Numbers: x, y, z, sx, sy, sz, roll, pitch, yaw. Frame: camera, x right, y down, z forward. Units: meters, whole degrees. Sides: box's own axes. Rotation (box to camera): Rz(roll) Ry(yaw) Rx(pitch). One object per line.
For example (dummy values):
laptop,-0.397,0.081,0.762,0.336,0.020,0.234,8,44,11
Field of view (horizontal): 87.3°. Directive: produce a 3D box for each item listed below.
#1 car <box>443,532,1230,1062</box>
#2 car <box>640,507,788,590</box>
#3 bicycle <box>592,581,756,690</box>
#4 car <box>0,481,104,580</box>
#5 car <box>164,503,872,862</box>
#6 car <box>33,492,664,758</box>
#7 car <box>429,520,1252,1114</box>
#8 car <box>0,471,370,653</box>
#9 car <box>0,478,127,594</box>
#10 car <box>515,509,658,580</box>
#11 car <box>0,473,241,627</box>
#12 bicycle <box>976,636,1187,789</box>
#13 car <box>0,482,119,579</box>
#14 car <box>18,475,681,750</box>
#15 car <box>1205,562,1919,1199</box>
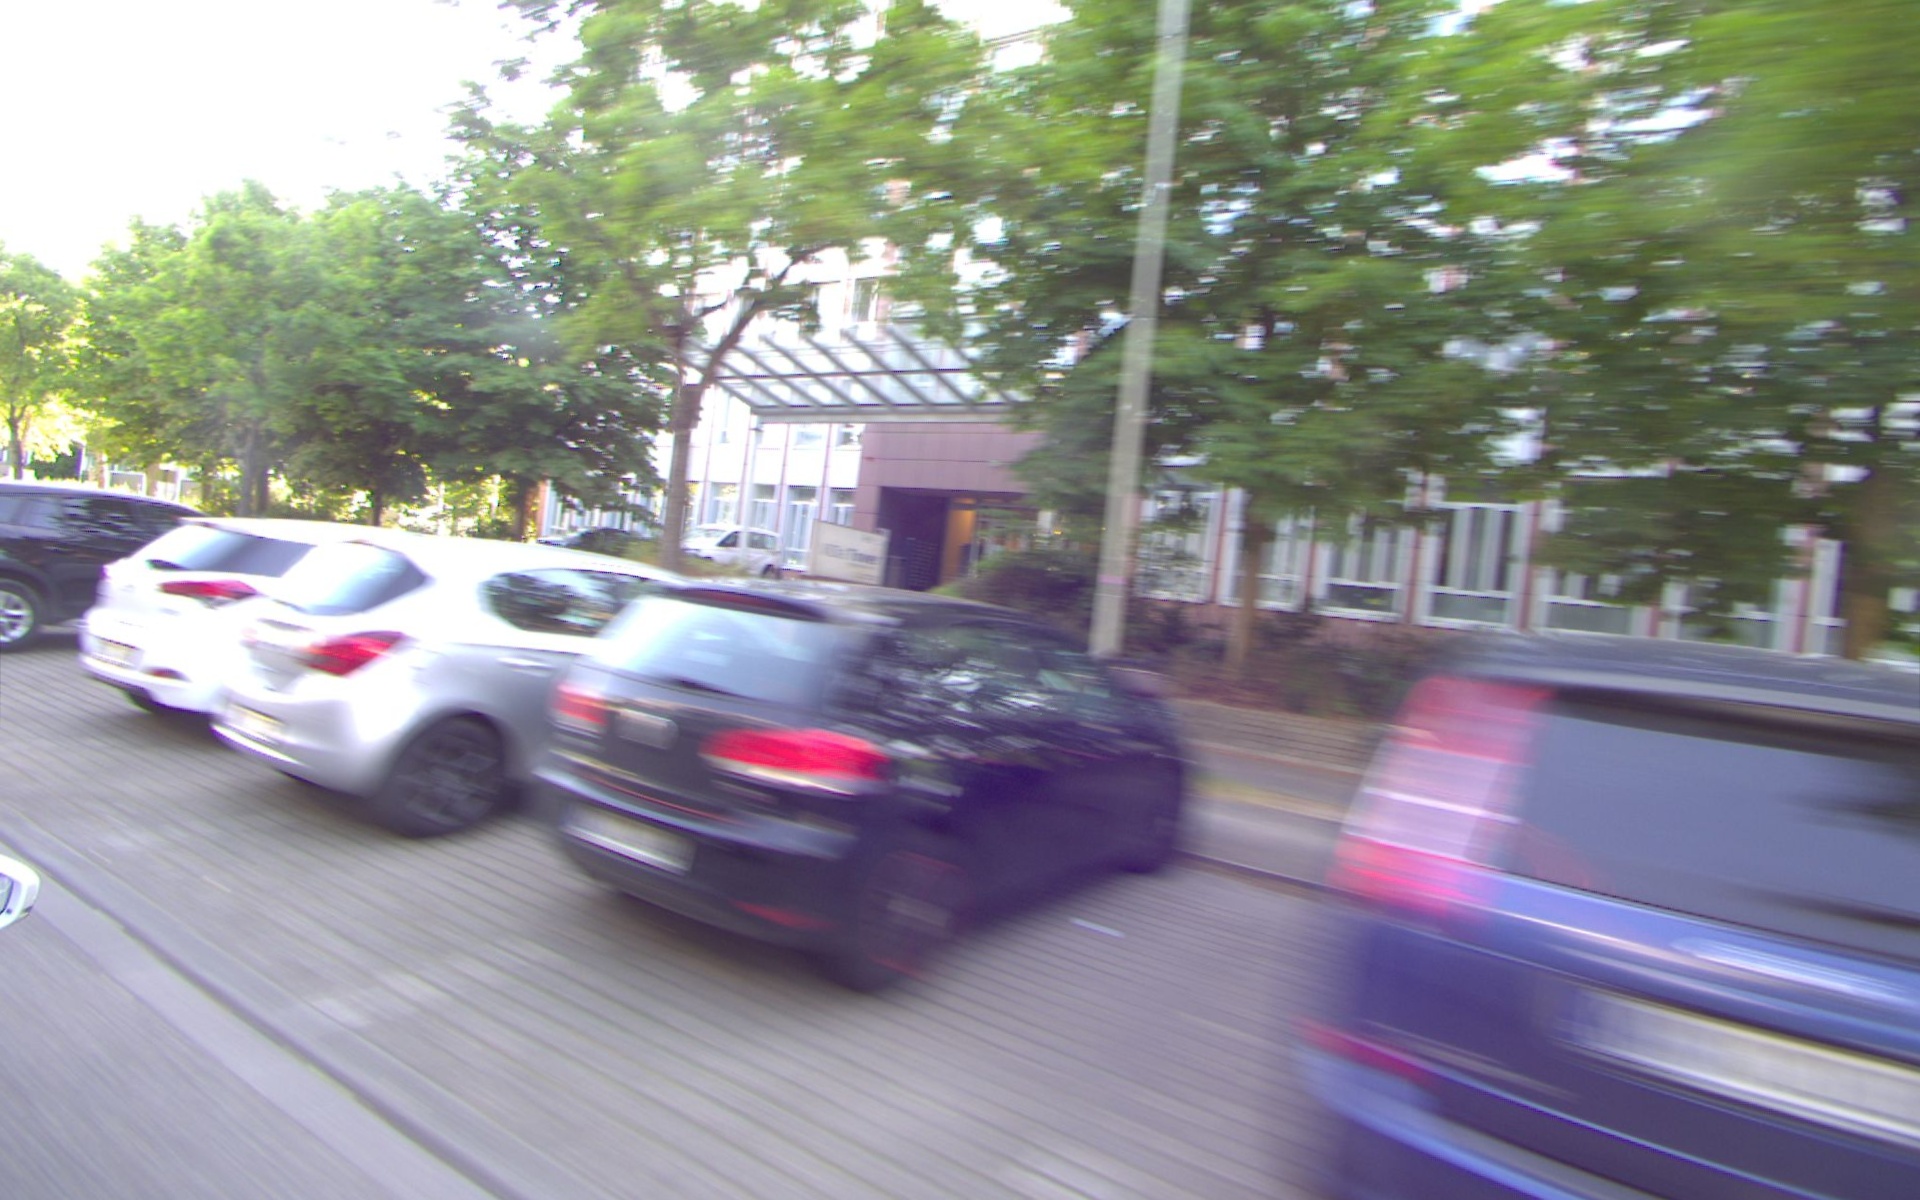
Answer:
car,-0.224,0.662,5.089,1.880,1.485,3.741,7,1,33
car,-7.385,-1.522,30.603,1.965,1.803,4.083,7,-2,28
bicycle,-3.410,0.425,12.085,1.757,1.091,0.379,7,1,-10
car,-16.160,-1.240,15.625,1.493,1.472,4.049,7,1,29
car,-2.405,0.420,6.253,1.608,1.485,3.634,7,1,36
car,-4.457,0.192,7.933,1.848,1.467,3.757,7,1,29
car,-0.121,0.687,4.926,1.864,1.545,3.886,7,0,32
car,-8.640,-0.393,10.132,1.886,1.575,4.255,7,1,26
car,-14.032,-1.006,13.507,1.523,1.510,4.049,7,1,29
car,-12.873,-1.882,34.954,1.965,1.691,4.313,7,-2,28
car,-11.106,-0.649,11.777,1.522,1.610,4.054,7,0,25
bicycle,1.044,0.959,9.022,1.856,1.060,0.378,7,2,38
car,-16.199,-1.258,15.911,1.706,1.439,4.050,6,0,28
car,-4.375,0.125,7.811,1.934,1.486,3.869,7,0,32
car,2.407,0.958,3.532,1.826,1.654,4.274,7,0,30
